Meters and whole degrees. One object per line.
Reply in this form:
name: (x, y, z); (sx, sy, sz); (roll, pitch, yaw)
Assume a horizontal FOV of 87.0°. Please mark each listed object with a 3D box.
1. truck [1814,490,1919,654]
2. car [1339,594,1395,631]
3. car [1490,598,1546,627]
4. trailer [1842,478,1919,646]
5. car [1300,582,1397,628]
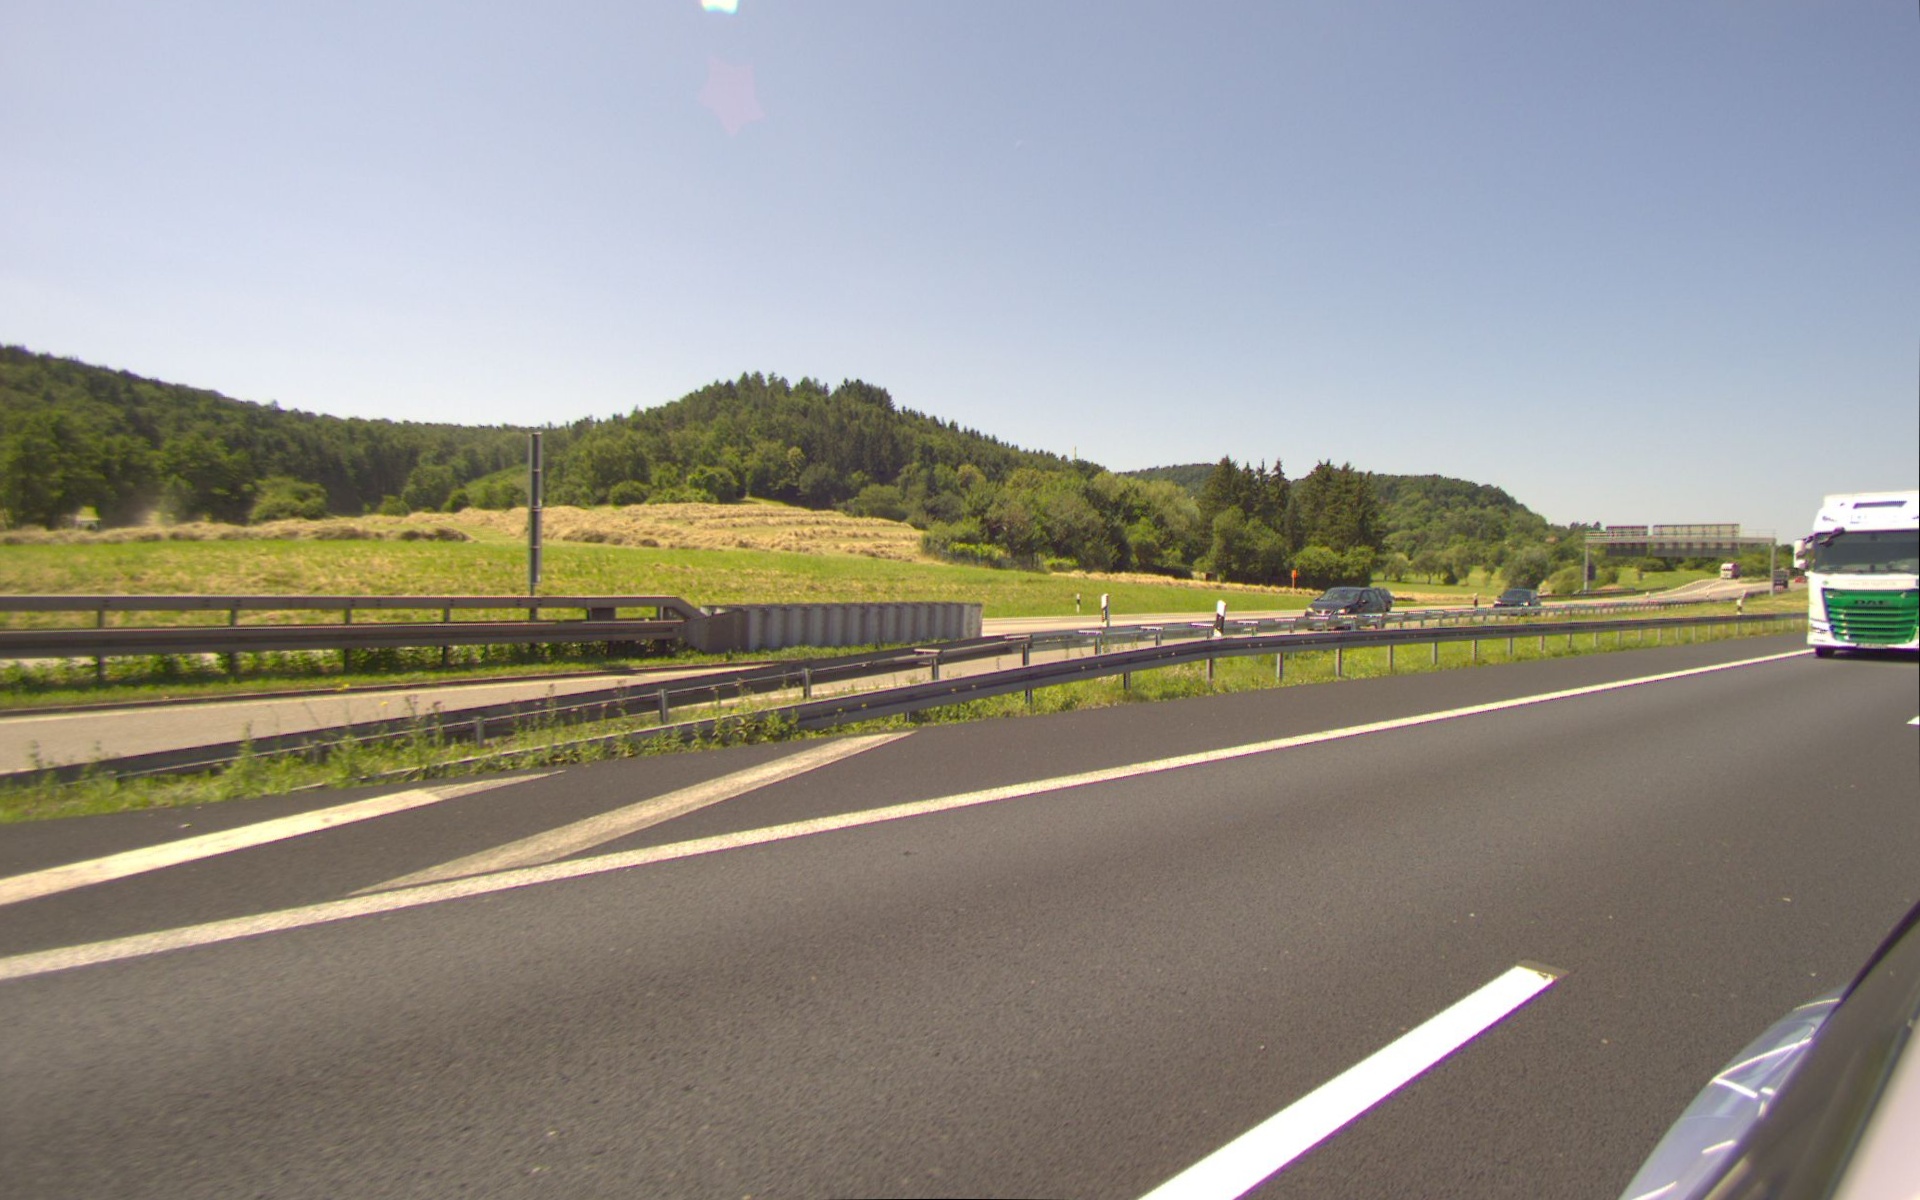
truck: (22.501, -0.649, 24.138); (4.328, 3.638, 2.646); (-1, 0, -42)
car: (23.492, 0.699, 58.342); (1.989, 2.039, 3.946); (0, 0, 37)
car: (30.423, 0.648, 55.145); (1.886, 1.491, 3.809); (0, 1, 42)
trailer: (29.595, -1.005, 30.465); (14.636, 4.241, 2.660); (-1, 0, -41)
car: (12.924, 0.131, 33.564); (1.776, 1.417, 3.704); (0, 1, 42)
